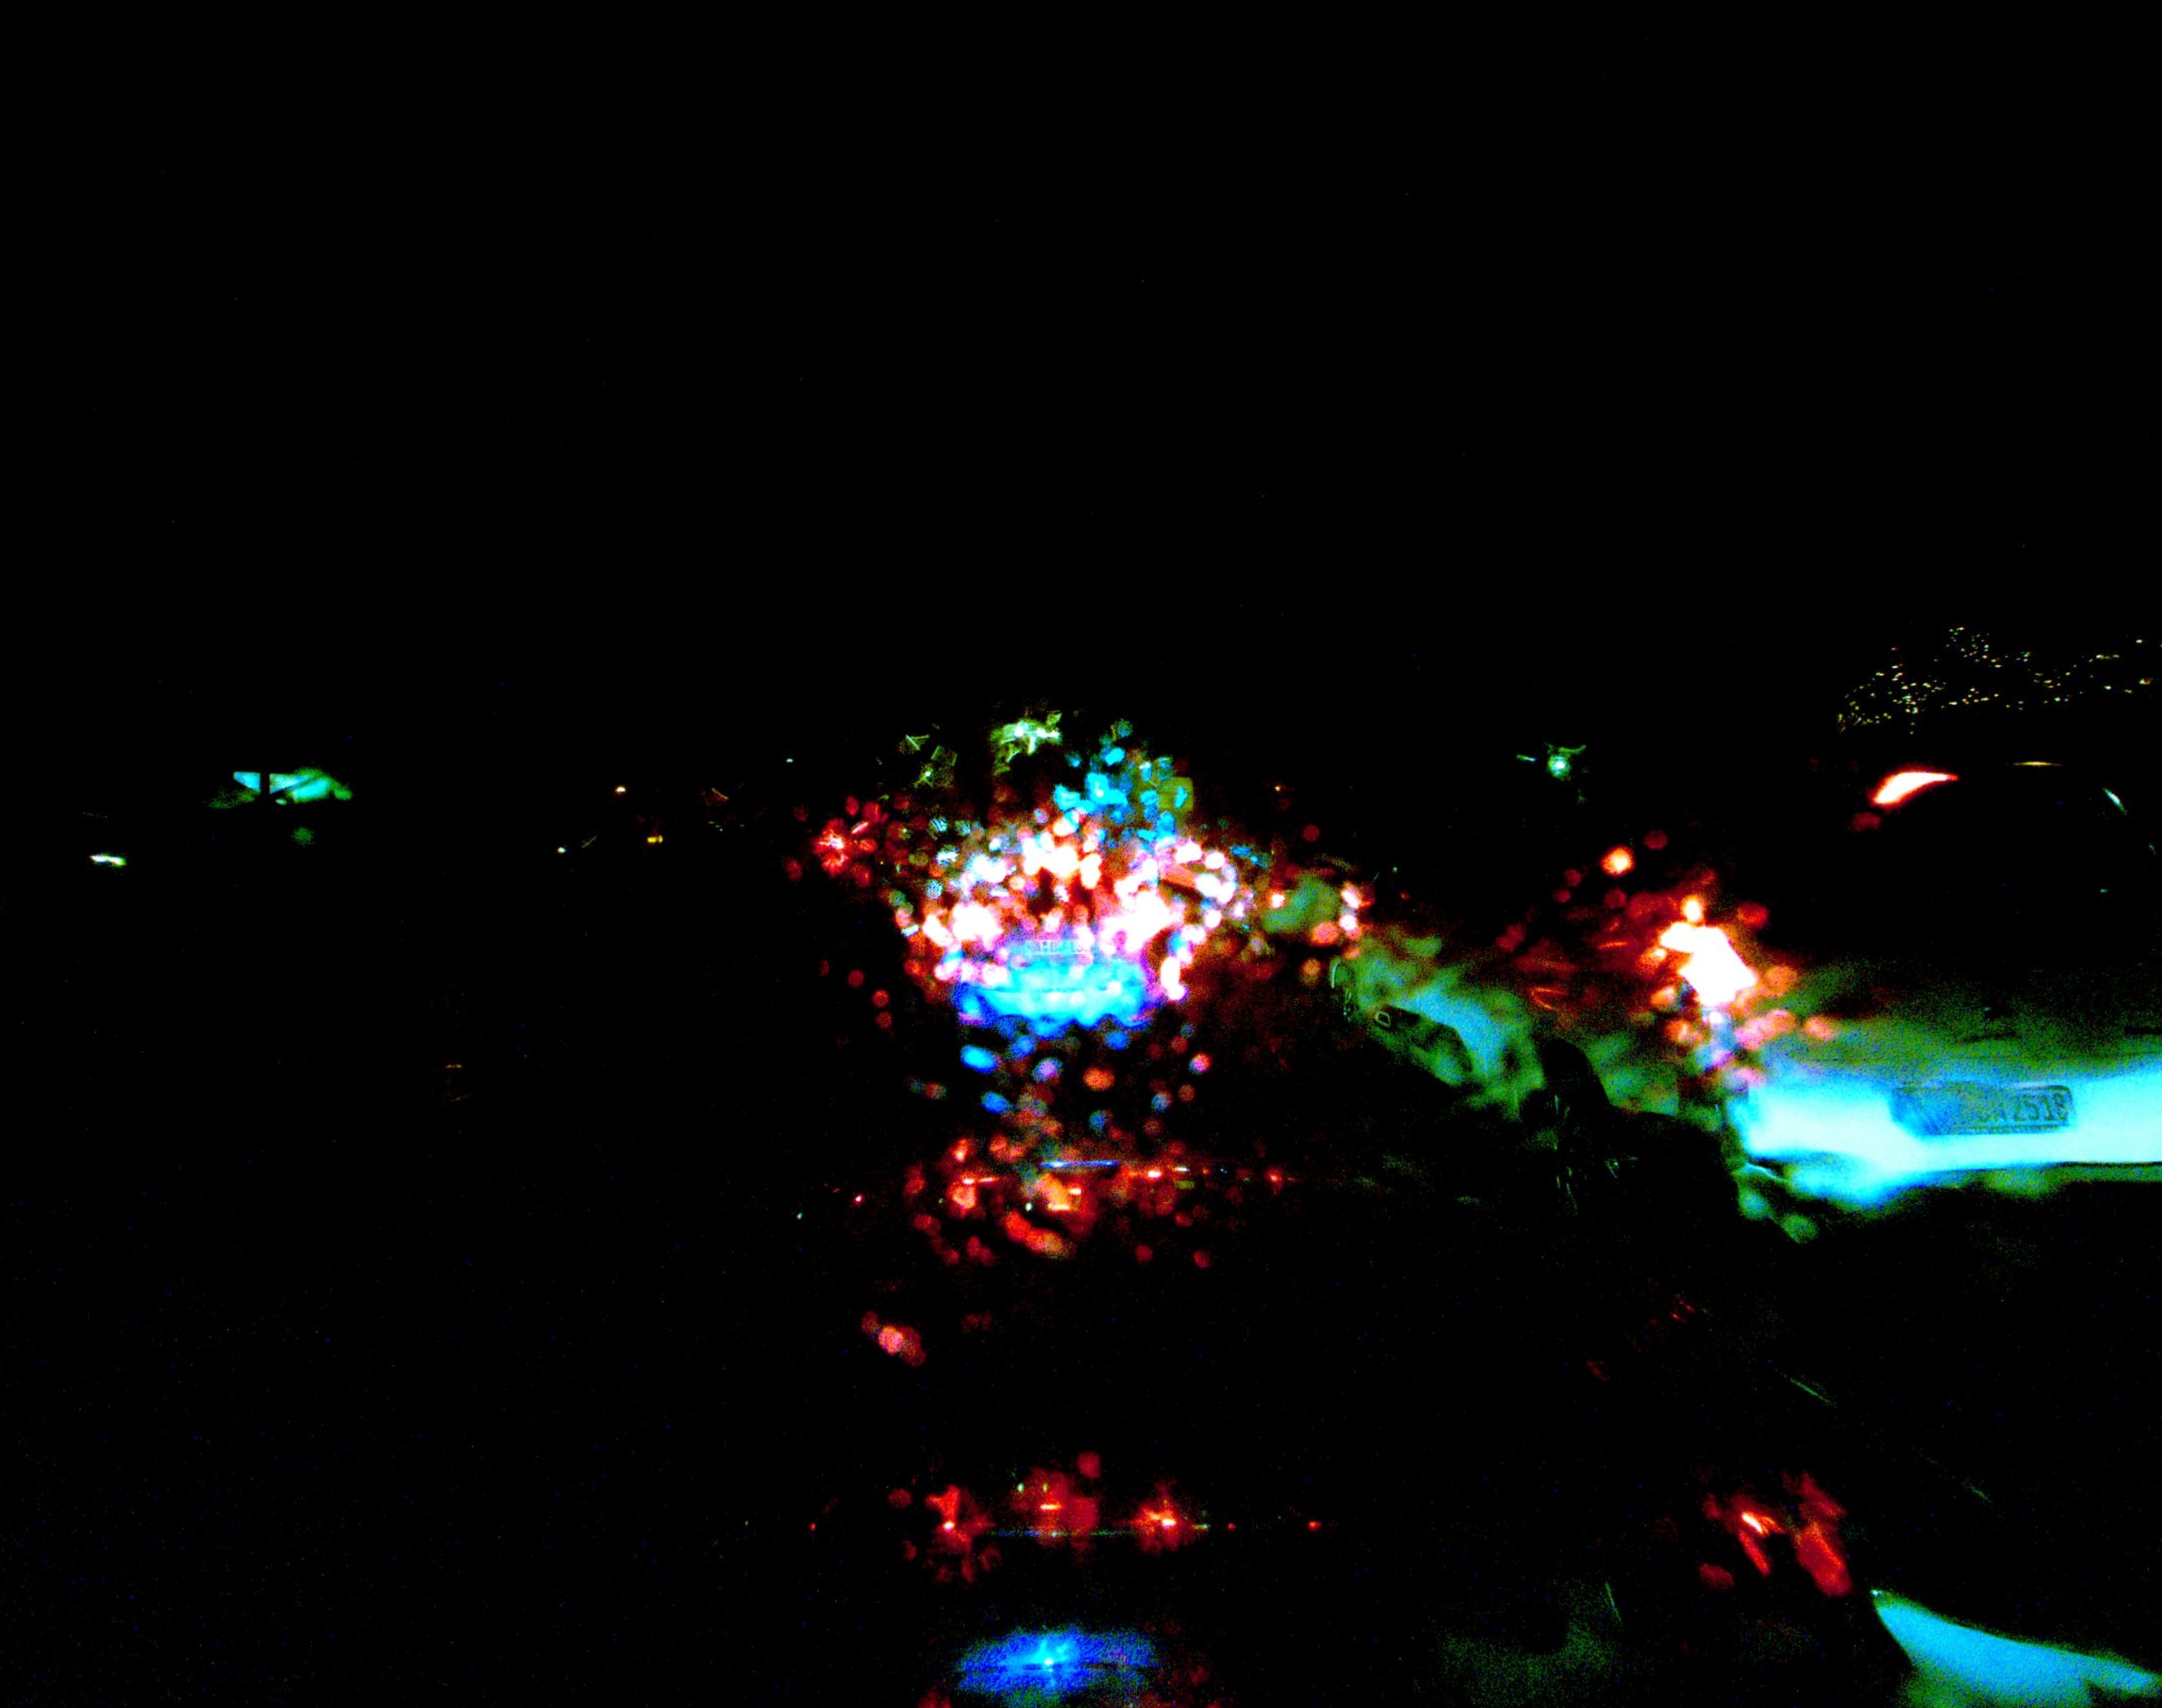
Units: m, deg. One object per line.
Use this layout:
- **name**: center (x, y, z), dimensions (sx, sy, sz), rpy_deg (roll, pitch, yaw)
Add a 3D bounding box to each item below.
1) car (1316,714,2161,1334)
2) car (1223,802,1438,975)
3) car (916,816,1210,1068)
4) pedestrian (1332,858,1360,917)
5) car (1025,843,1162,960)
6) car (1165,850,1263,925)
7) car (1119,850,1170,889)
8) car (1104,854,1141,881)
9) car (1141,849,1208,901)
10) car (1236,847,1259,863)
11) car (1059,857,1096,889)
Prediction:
- **car**: center (2.825, 0.529, 4.636), dimensions (1.845, 1.865, 4.342), rpy_deg (0, -1, 2)
- **car**: center (3.322, 0.426, 11.701), dimensions (1.961, 2.047, 4.001), rpy_deg (0, -1, 2)
- **car**: center (-0.072, 0.620, 7.800), dimensions (2.007, 1.717, 4.453), rpy_deg (0, -1, 1)
- **pedestrian**: center (7.659, 0.960, 23.563), dimensions (0.621, 1.701, 0.541), rpy_deg (0, -1, -1)
- **car**: center (0.249, 0.710, 13.860), dimensions (1.986, 1.684, 4.001), rpy_deg (0, -1, 2)
- **car**: center (3.307, 0.798, 20.953), dimensions (1.986, 1.718, 4.001), rpy_deg (0, -1, 2)
- **car**: center (3.025, 0.739, 39.476), dimensions (1.989, 1.773, 3.996), rpy_deg (0, -1, -2)
- **car**: center (2.481, 0.798, 49.591), dimensions (1.853, 1.544, 3.927), rpy_deg (0, -1, -2)
- **car**: center (3.184, 0.700, 28.452), dimensions (1.986, 1.670, 4.001), rpy_deg (0, -1, 2)
- **car**: center (19.128, 0.125, 93.754), dimensions (1.857, 1.646, 3.965), rpy_deg (-3, -1, 2)
- **car**: center (-0.251, 1.109, 48.324), dimensions (1.989, 1.824, 3.995), rpy_deg (0, -1, -3)
